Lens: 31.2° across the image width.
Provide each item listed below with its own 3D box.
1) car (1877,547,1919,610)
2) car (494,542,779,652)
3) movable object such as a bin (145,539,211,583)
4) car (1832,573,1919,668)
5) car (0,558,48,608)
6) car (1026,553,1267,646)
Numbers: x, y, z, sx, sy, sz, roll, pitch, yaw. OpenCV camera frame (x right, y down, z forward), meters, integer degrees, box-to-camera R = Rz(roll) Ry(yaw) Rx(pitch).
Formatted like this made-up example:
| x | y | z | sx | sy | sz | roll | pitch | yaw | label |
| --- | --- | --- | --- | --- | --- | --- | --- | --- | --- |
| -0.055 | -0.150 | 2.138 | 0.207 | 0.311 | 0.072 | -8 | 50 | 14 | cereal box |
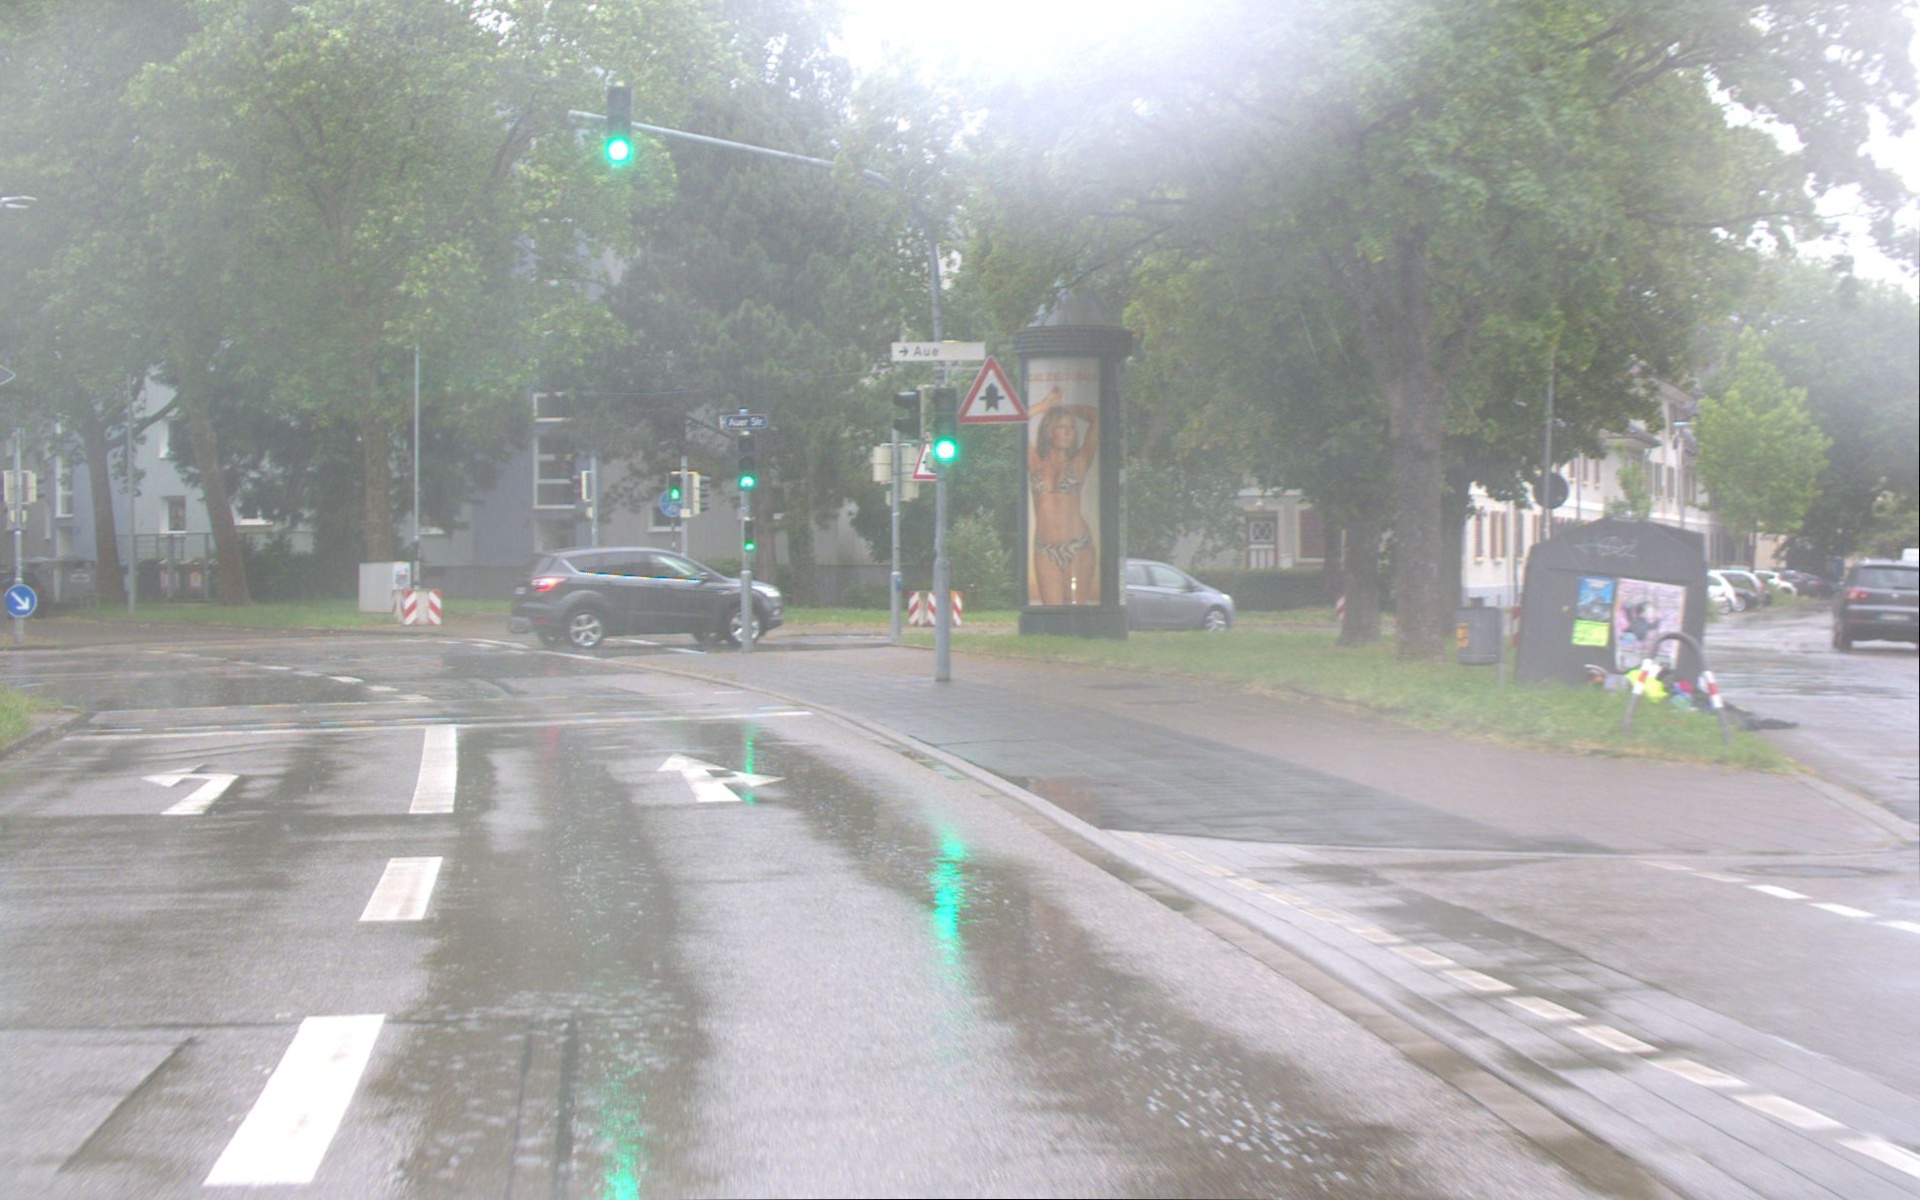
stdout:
| x | y | z | sx | sy | sz | roll | pitch | yaw | label |
| --- | --- | --- | --- | --- | --- | --- | --- | --- | --- |
| 34.332 | -0.763 | 123.459 | 2.352 | 2.201 | 4.608 | 1 | 0 | 19 | car |
| -5.327 | -0.048 | 56.539 | 4.289 | 1.738 | 2.001 | 1 | 0 | -20 | car |
| -26.216 | -1.304 | 115.188 | 1.860 | 1.428 | 1.214 | 1 | 0 | 35 | movable object such as a bin |
| 16.926 | 0.359 | 62.600 | 1.855 | 1.649 | 4.302 | 1 | 0 | 12 | car |
| -27.142 | -0.493 | 96.746 | 1.549 | 1.385 | 4.149 | 1 | 0 | -35 | car |
| 3.336 | -0.016 | 61.158 | 4.077 | 1.597 | 1.999 | 0 | 0 | -43 | car |
